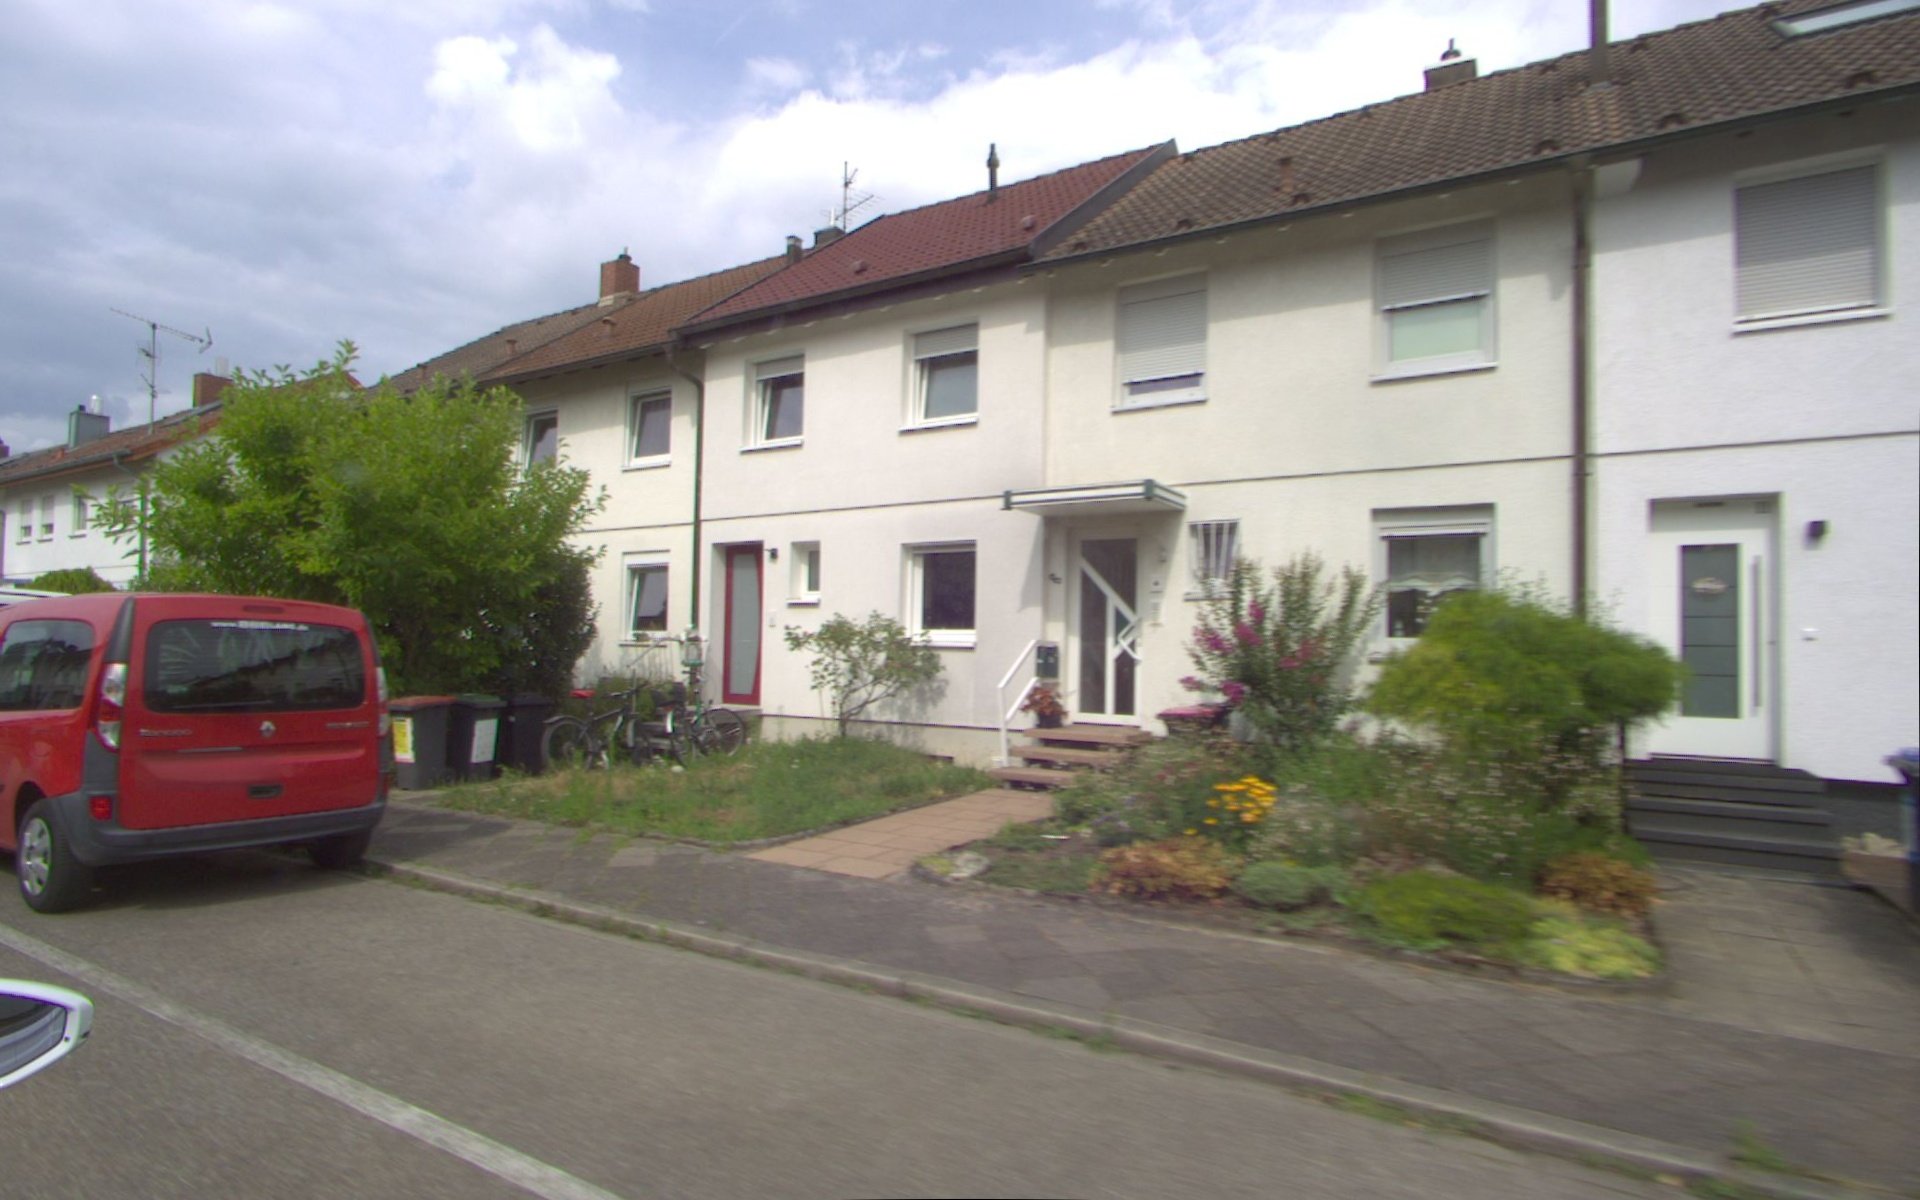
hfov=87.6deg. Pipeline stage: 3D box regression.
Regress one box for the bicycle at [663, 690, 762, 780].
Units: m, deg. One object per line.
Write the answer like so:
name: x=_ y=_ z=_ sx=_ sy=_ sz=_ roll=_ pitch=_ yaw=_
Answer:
bicycle: x=-2.844 y=1.536 z=11.671 sx=0.731 sy=0.876 sz=1.593 roll=1 pitch=-2 yaw=1

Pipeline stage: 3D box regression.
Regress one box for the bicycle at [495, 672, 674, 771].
bicycle: x=-3.968 y=1.252 z=10.743 sx=0.552 sy=0.919 sz=1.876 roll=0 pitch=-2 yaw=29

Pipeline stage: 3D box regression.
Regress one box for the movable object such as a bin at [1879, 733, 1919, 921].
movable object such as a bin: x=5.740 y=1.274 z=5.537 sx=0.873 sy=1.000 sz=0.425 roll=0 pitch=-1 yaw=24

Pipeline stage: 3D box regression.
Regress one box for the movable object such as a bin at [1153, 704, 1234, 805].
movable object such as a bin: x=2.227 y=1.445 z=9.509 sx=0.542 sy=0.861 sz=0.688 roll=0 pitch=-2 yaw=33

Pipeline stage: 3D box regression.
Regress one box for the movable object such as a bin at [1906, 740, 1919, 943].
movable object such as a bin: x=5.506 y=1.294 z=5.126 sx=0.873 sy=1.065 sz=0.417 roll=0 pitch=-1 yaw=25

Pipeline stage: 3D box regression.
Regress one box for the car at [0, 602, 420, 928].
car: x=-5.995 y=0.899 z=6.999 sx=4.342 sy=1.671 sz=1.810 roll=0 pitch=-2 yaw=28

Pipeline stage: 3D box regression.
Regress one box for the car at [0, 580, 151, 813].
car: x=-10.131 y=0.838 z=9.680 sx=4.676 sy=1.972 sz=2.019 roll=0 pitch=-2 yaw=30
